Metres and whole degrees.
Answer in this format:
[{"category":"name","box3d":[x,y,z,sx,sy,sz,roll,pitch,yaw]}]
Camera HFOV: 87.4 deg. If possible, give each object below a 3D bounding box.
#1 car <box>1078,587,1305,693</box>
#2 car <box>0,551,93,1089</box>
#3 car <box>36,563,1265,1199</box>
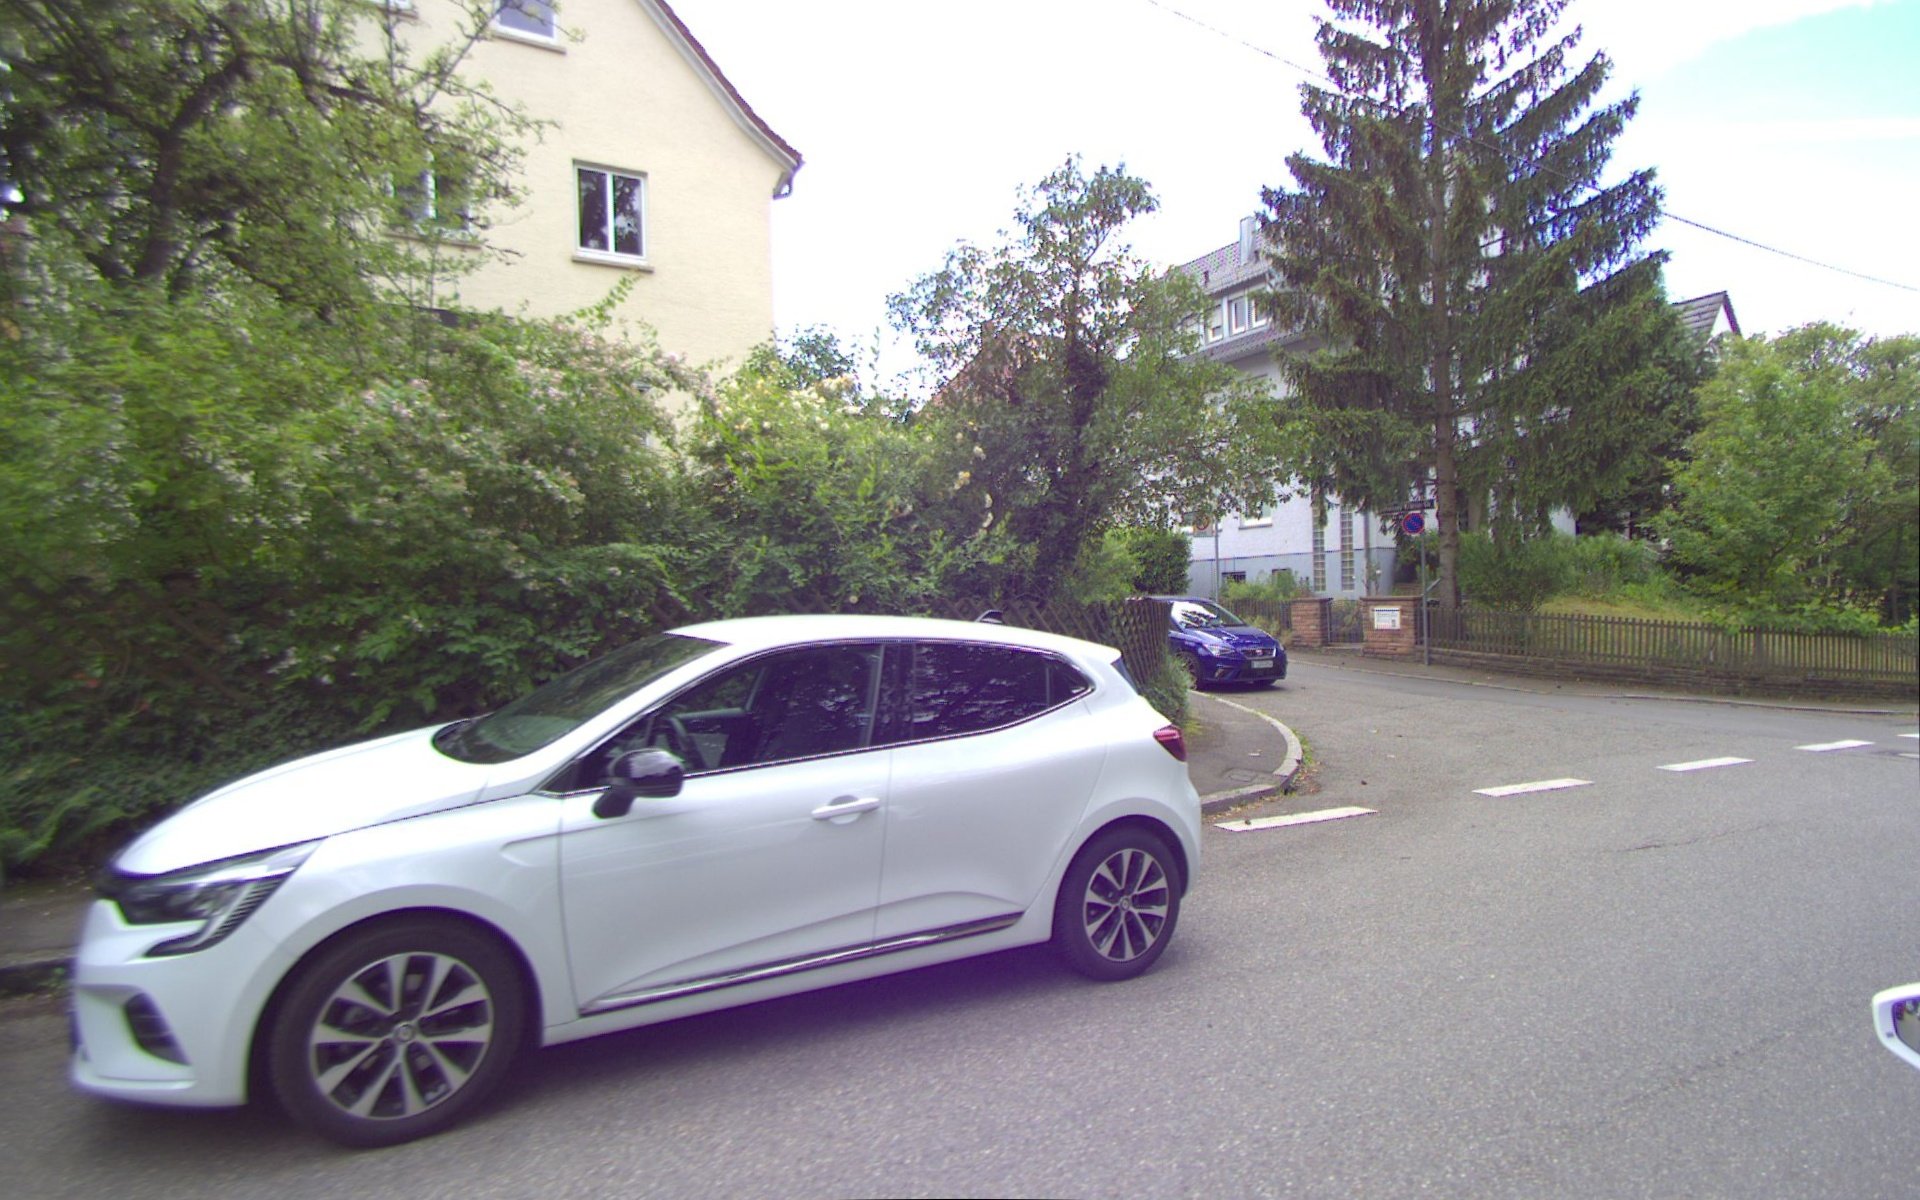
[{"category":"car","box3d":[3.849,0.590,17.395,1.699,1.503,3.973,0,2,-26]},{"category":"car","box3d":[-4.450,0.595,1.893,3.968,1.520,1.775,1,0,-31]},{"category":"car","box3d":[-0.839,0.701,4.082,3.968,1.520,1.775,1,0,-31]}]
